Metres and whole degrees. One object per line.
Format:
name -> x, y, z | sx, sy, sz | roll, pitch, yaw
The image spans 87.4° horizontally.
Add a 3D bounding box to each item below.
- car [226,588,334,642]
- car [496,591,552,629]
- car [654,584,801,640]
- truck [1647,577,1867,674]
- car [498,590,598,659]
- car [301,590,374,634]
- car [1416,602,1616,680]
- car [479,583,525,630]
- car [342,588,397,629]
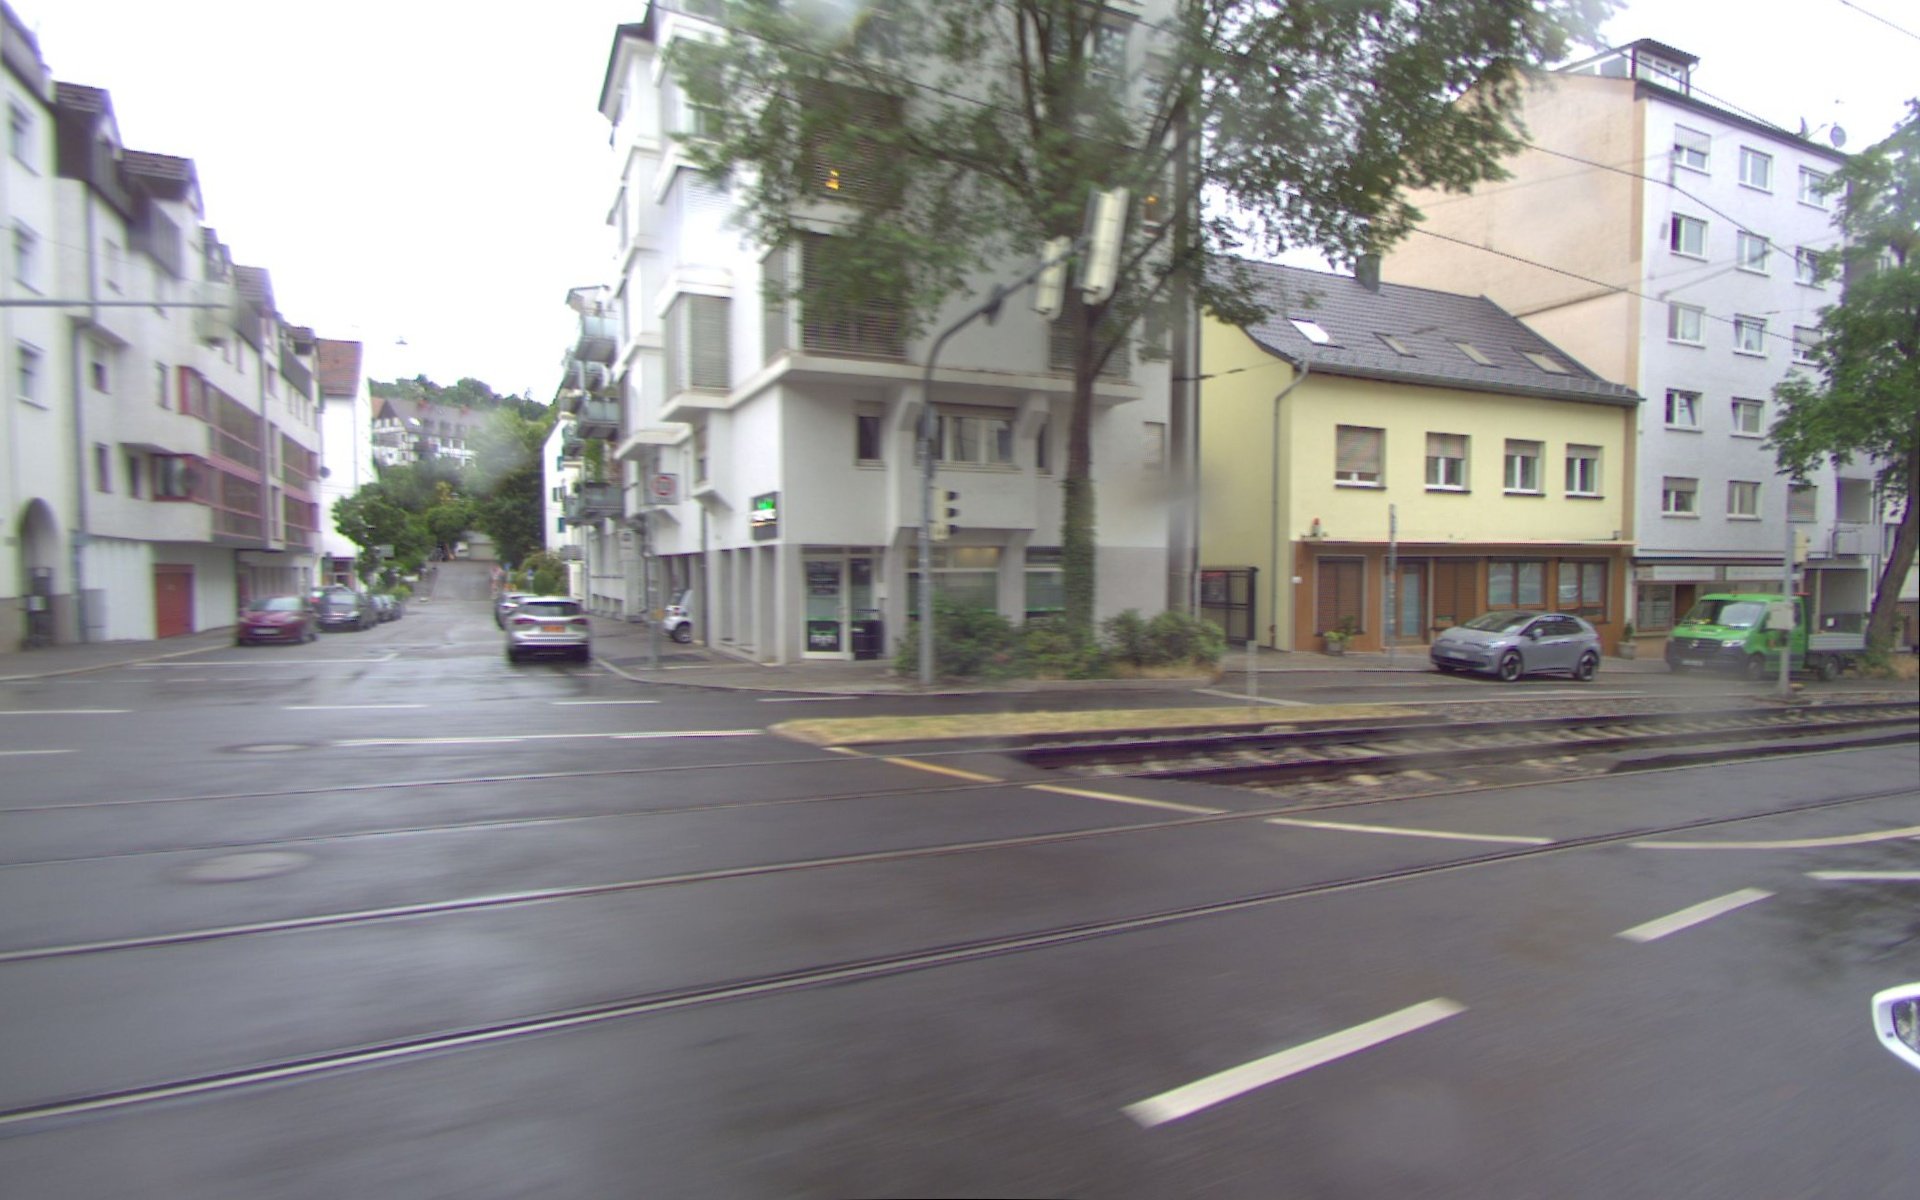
car -> -20.679, 0.441, 30.761 | 1.973, 1.521, 4.700 | 2, -1, -25
car -> -18.237, 0.415, 41.891 | 1.973, 1.472, 4.700 | 2, -1, -25
car -> -6.932, 0.369, 30.073 | 3.955, 1.555, 1.691 | 2, -1, -32
truck -> 22.025, 0.742, 27.720 | 6.232, 2.425, 2.046 | 2, 0, -24
car -> -10.003, 0.554, 24.176 | 1.973, 1.492, 4.700 | 2, -1, -25
car -> -25.296, 0.465, 40.968 | 1.973, 1.643, 4.700 | 2, -1, -25
car -> 12.972, 0.935, 23.395 | 4.435, 1.536, 1.720 | 1, 5, -26
car -> -21.481, 0.297, 47.110 | 1.845, 2.040, 4.425 | 2, -1, -25
car -> -31.523, 0.448, 53.755 | 1.972, 2.040, 4.702 | 1, -1, -24
